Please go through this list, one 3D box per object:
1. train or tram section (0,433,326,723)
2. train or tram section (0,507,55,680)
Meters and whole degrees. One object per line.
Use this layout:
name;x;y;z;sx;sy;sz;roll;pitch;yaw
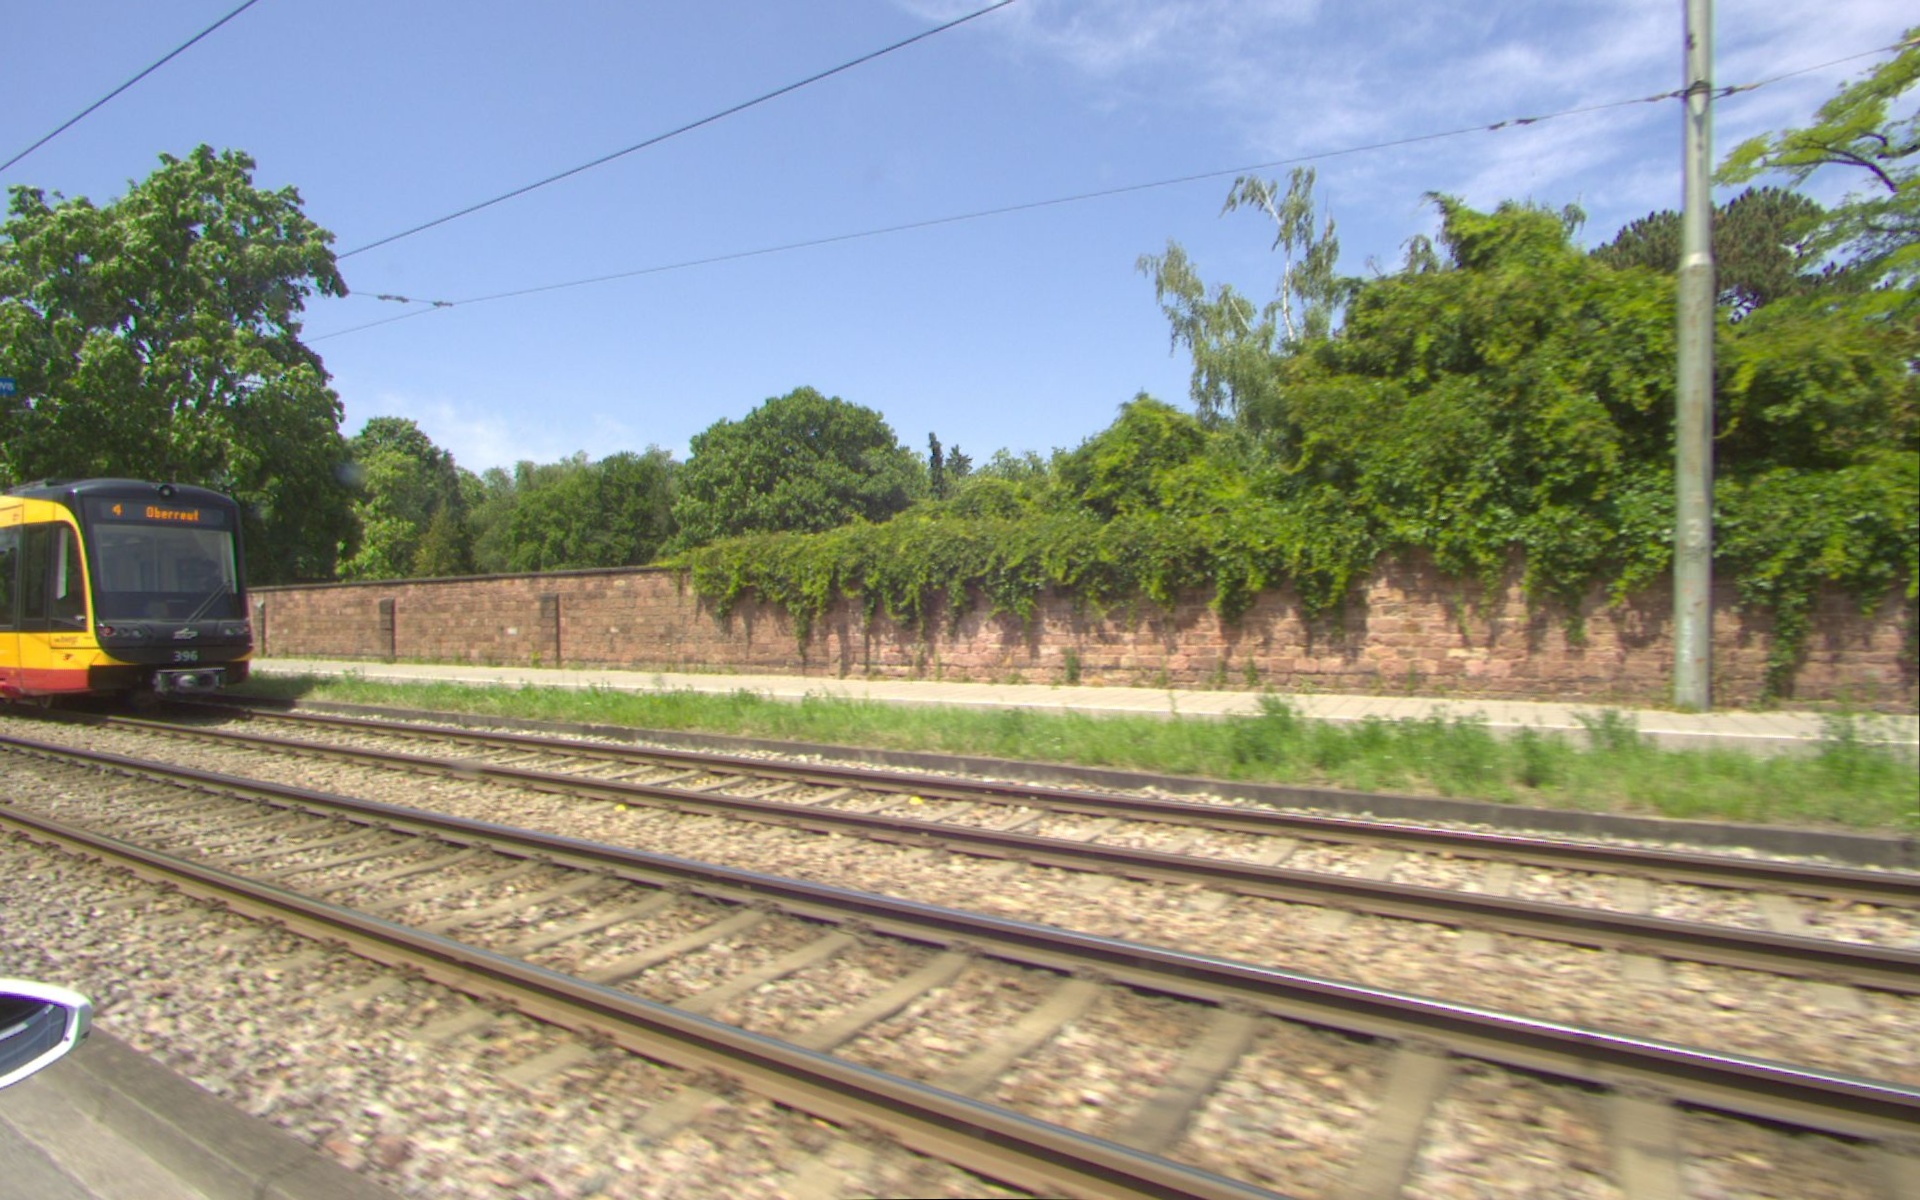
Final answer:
train or tram section;-16.256;-0.217;18.082;12.905;3.848;3.021;-1;0;33
train or tram section;-27.010;-0.073;25.233;12.905;3.848;3.021;-1;0;33
